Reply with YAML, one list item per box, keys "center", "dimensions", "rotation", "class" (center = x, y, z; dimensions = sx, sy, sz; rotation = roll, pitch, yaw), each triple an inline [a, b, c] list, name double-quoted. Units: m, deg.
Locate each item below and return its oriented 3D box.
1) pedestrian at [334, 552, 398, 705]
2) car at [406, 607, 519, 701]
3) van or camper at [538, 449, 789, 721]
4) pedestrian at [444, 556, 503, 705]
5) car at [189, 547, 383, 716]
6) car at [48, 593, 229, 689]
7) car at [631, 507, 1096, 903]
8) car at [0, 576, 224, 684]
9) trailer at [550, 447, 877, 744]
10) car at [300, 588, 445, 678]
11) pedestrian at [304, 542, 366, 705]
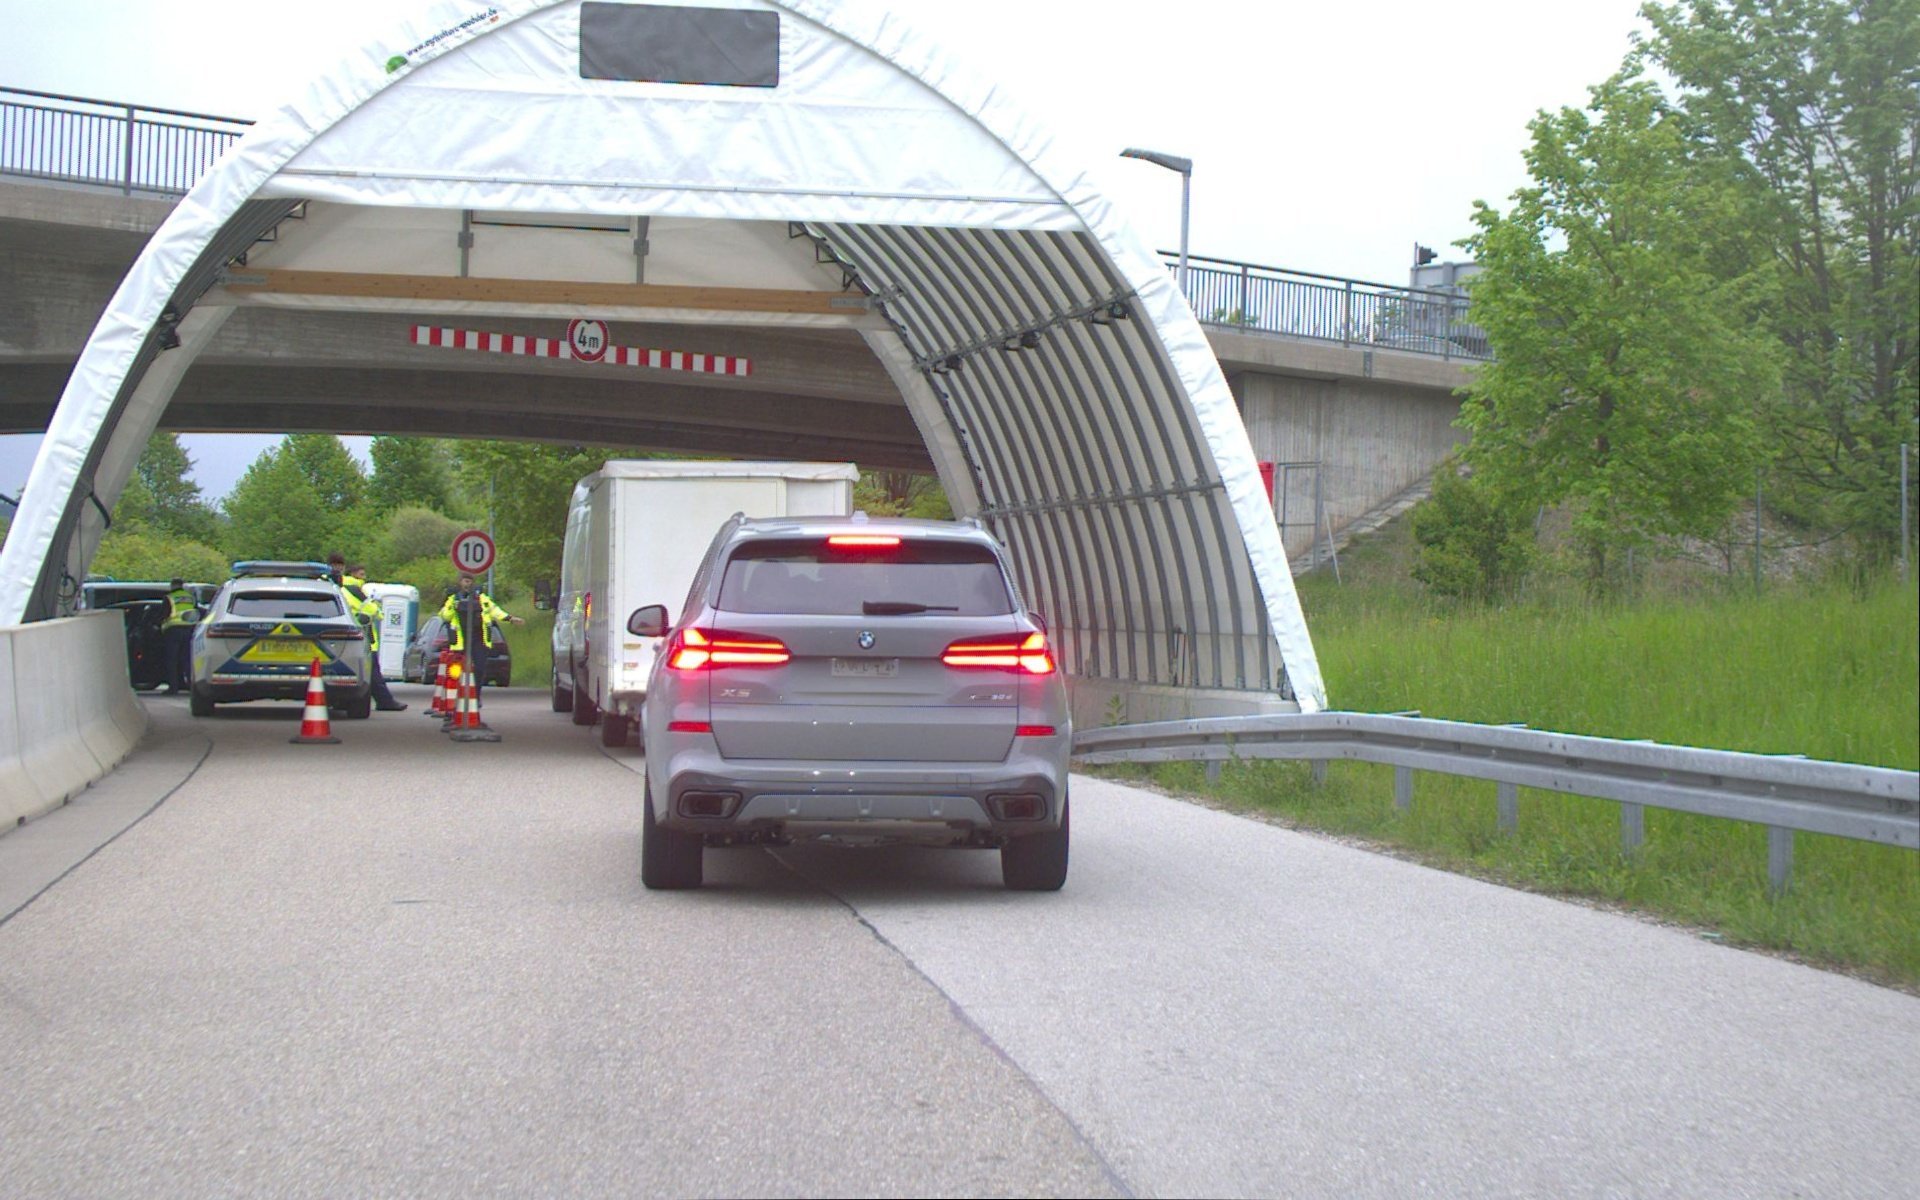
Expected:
- center: [-6.974, 0.330, 40.325]
  dimensions: [0.720, 1.769, 0.690]
  rotation: [0, 0, -11]
  class: "pedestrian"
- center: [-10.124, 1.066, 69.802]
  dimensions: [1.703, 1.848, 4.001]
  rotation: [0, 0, -17]
  class: "car"
- center: [-3.360, -0.101, 37.827]
  dimensions: [2.156, 2.754, 5.872]
  rotation: [0, -1, -11]
  class: "van or camper"
- center: [-5.842, 0.361, 41.285]
  dimensions: [0.648, 1.769, 0.606]
  rotation: [0, 0, -13]
  class: "pedestrian"
- center: [-7.449, 0.332, 37.914]
  dimensions: [1.993, 1.766, 3.766]
  rotation: [0, 0, -12]
  class: "car"
- center: [-12.657, 0.618, 52.872]
  dimensions: [1.515, 1.437, 3.315]
  rotation: [0, 0, -37]
  class: "car"
- center: [-0.602, 0.478, 16.950]
  dimensions: [1.993, 1.714, 4.001]
  rotation: [0, -1, -6]
  class: "car"
- center: [-15.117, 0.521, 60.301]
  dimensions: [3.987, 1.848, 1.709]
  rotation: [0, 0, 4]
  class: "car"
- center: [-2.413, 0.024, 31.584]
  dimensions: [2.278, 2.422, 6.818]
  rotation: [0, -1, -10]
  class: "trailer"
- center: [-13.555, 0.753, 79.183]
  dimensions: [1.993, 2.007, 4.000]
  rotation: [0, 0, -31]
  class: "car"
- center: [-7.508, 0.283, 41.306]
  dimensions: [0.720, 1.939, 0.690]
  rotation: [0, 0, -11]
  class: "pedestrian"
